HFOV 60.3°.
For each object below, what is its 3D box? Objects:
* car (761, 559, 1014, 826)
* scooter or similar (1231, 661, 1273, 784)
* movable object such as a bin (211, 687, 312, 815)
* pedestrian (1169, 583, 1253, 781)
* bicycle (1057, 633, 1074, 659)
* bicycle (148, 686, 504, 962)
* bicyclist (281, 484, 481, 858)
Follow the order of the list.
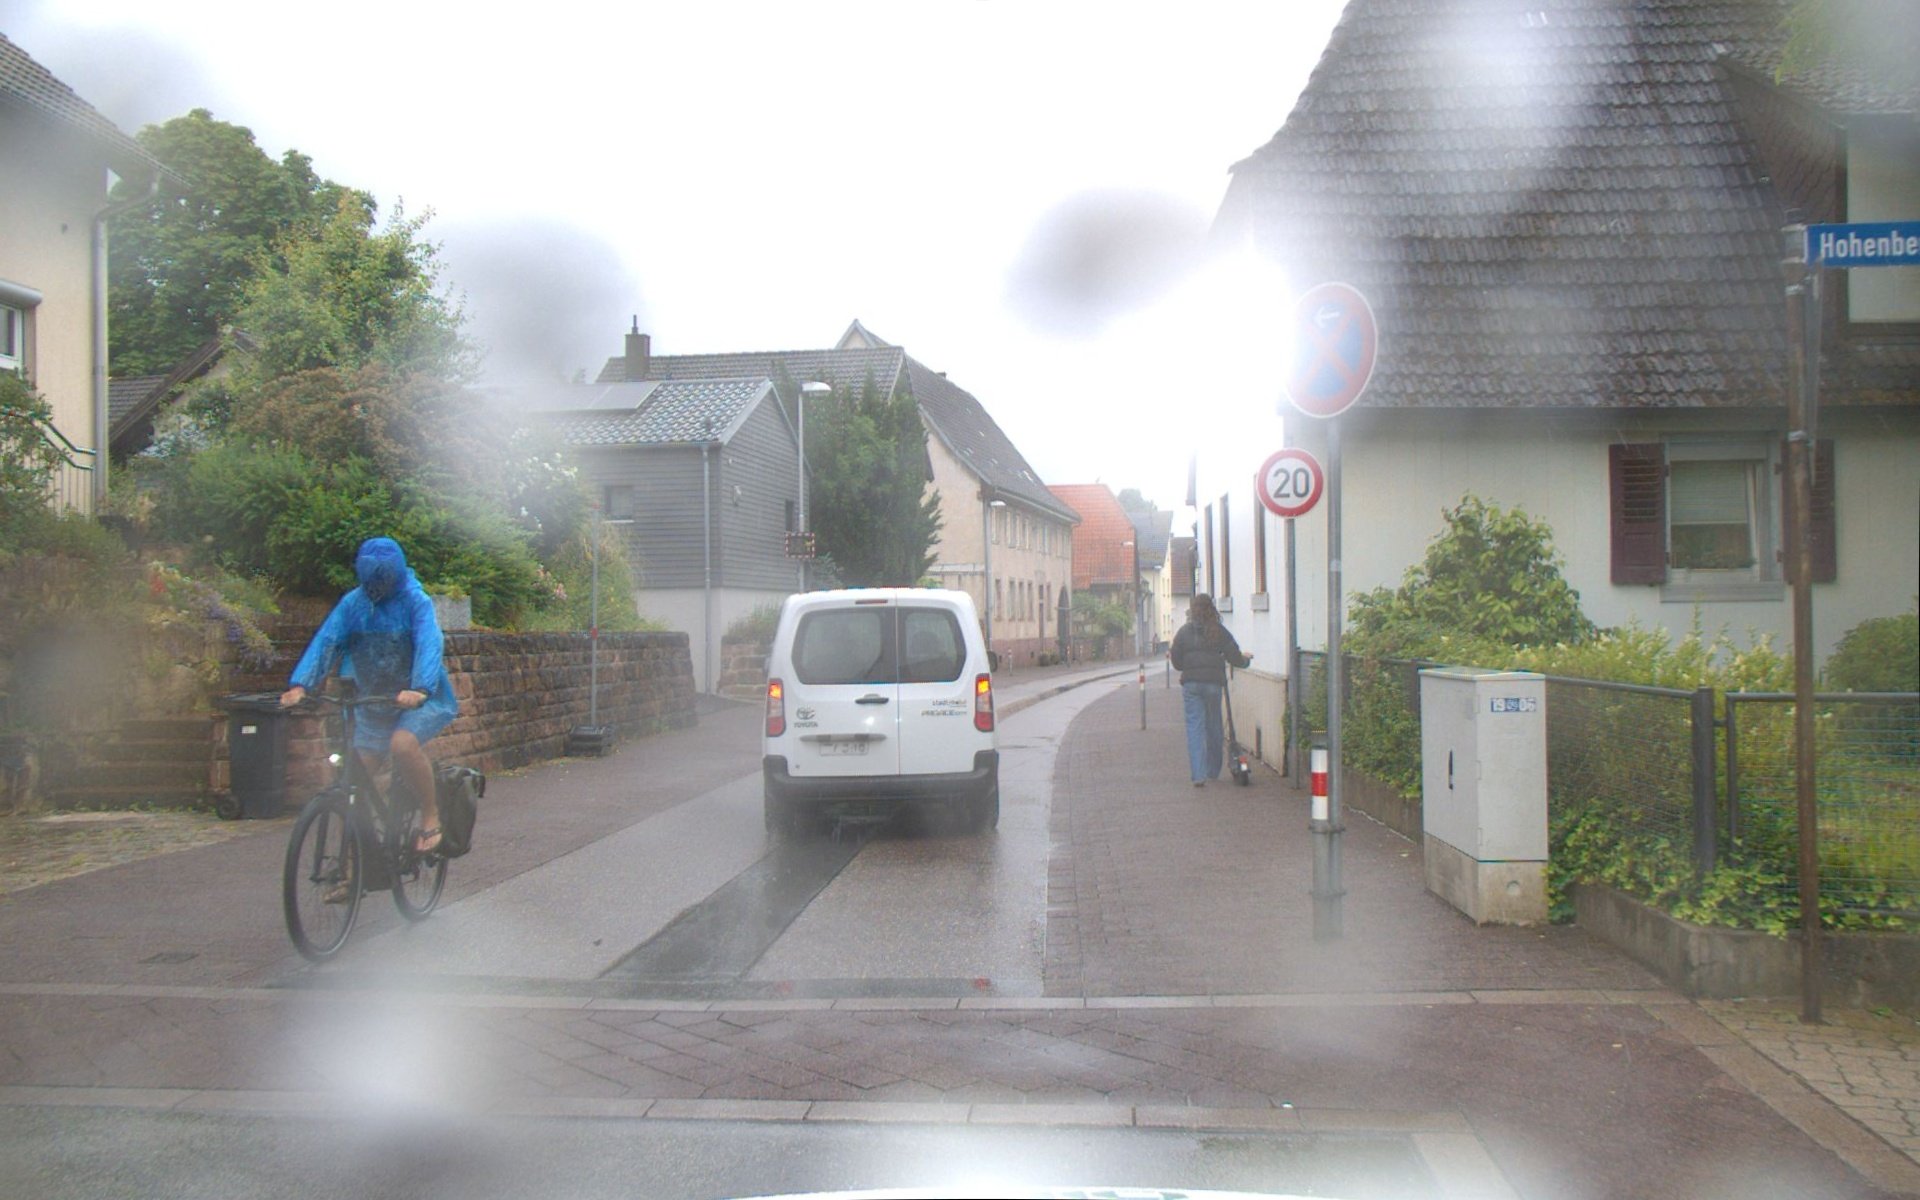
[{"bbox_3d":[-0.518,0.713,13.718,1.758,1.851,4.100,1,-2,0],"label":"car"},{"bbox_3d":[2.670,1.102,15.184,0.240,1.046,1.101,1,0,3],"label":"scooter or similar"},{"bbox_3d":[-5.408,1.161,12.833,0.526,0.946,0.544,0,-2,2],"label":"movable object such as a bin"},{"bbox_3d":[2.302,0.732,15.245,0.680,1.763,0.821,1,0,4],"label":"pedestrian"},{"bbox_3d":[4.990,2.182,78.065,0.473,1.201,1.836,0,-2,15],"label":"bicycle"},{"bbox_3d":[-2.939,0.983,7.995,0.666,1.069,2.340,0,-2,4],"label":"bicycle"},{"bbox_3d":[-2.808,0.334,8.080,0.673,1.743,0.703,0,-2,4],"label":"bicyclist"}]
